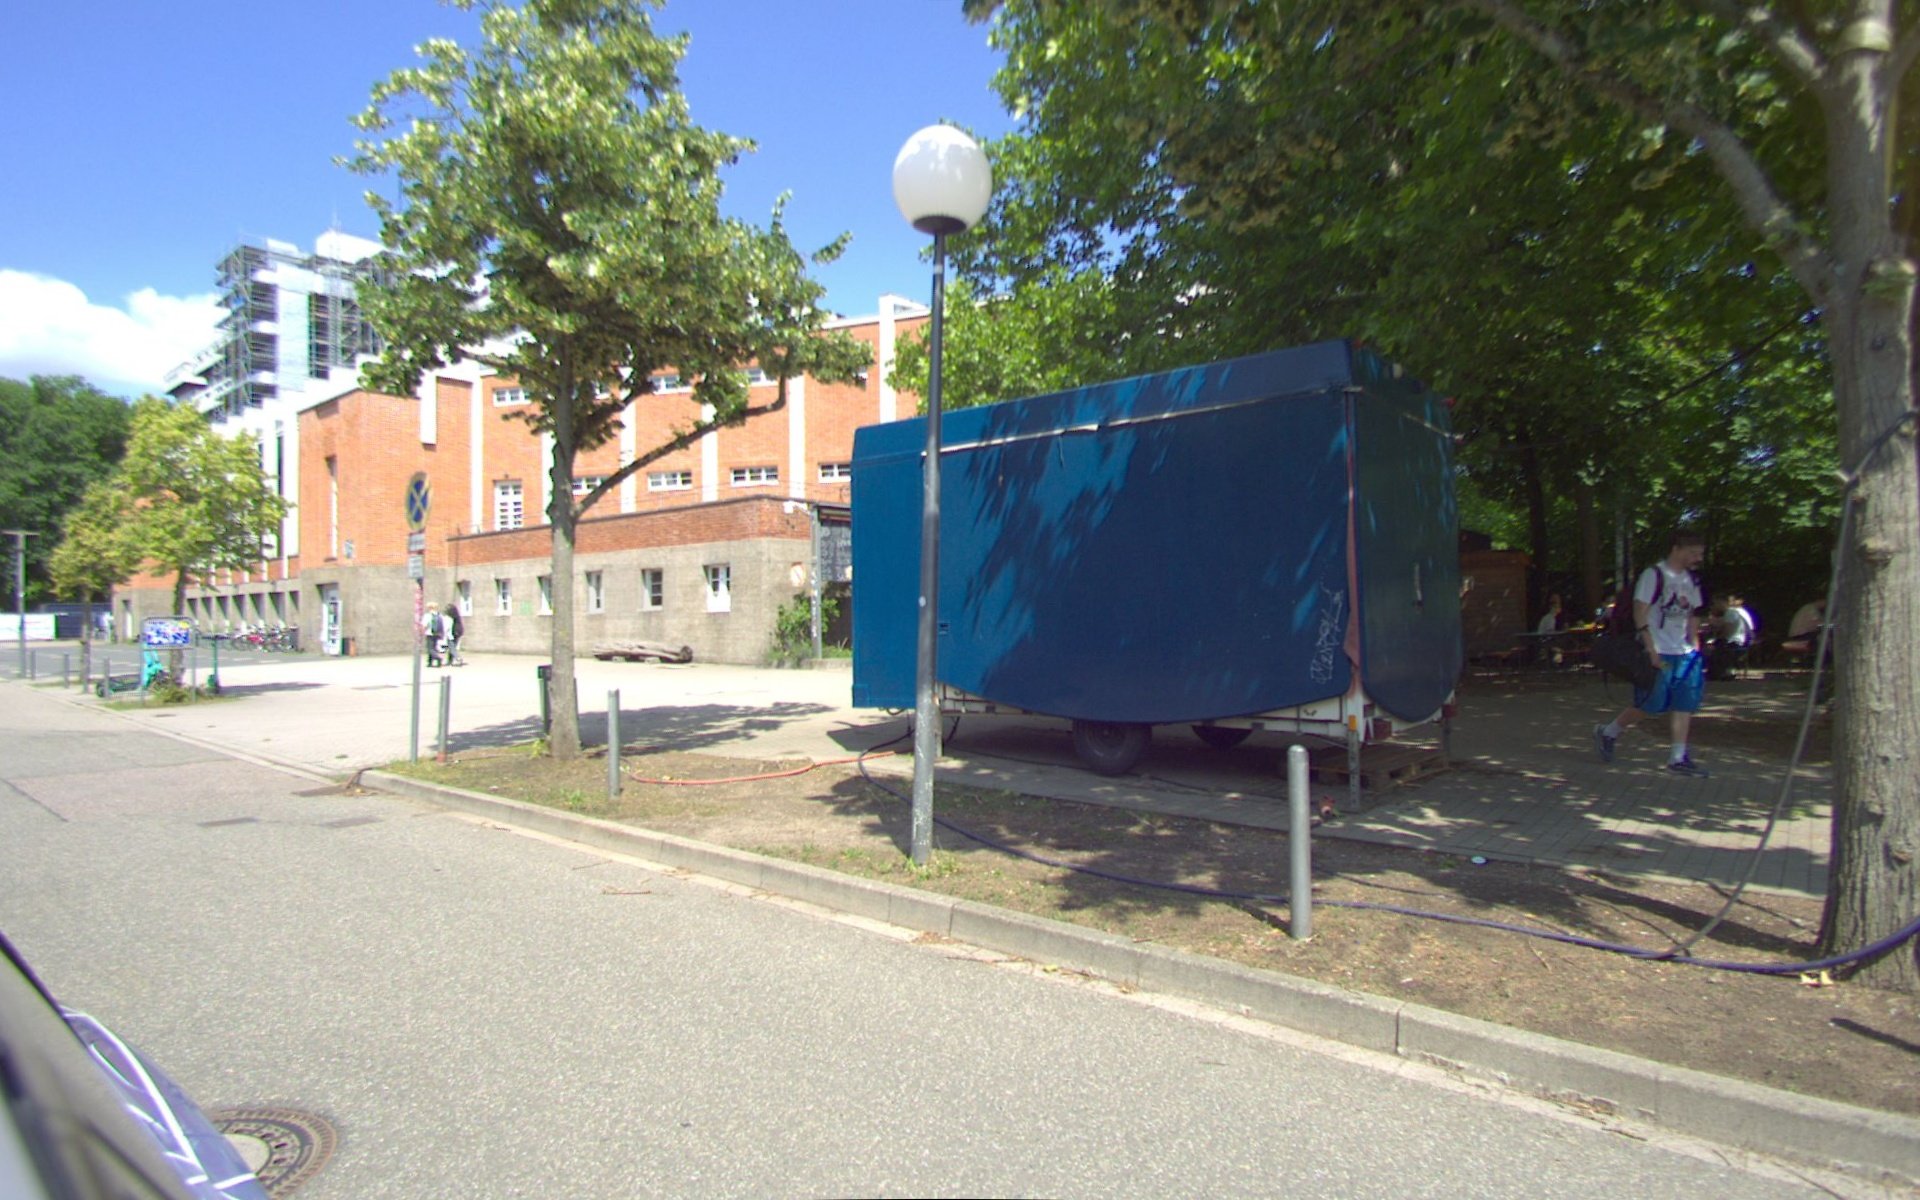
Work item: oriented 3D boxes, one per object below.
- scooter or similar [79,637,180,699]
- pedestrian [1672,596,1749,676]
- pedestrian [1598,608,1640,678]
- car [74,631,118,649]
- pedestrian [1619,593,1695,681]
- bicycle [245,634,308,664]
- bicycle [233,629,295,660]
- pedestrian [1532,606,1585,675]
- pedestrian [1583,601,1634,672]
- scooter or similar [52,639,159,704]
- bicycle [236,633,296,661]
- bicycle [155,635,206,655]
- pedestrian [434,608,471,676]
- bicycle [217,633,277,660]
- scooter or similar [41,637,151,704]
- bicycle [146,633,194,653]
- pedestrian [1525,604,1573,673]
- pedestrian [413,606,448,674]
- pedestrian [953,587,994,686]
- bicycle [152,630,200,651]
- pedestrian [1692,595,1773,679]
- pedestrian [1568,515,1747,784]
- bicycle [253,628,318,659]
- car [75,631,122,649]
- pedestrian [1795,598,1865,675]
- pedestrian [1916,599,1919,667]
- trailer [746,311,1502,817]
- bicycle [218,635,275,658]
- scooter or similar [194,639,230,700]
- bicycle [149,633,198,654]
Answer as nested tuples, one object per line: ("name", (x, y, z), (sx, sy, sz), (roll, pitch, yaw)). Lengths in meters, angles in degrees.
("scooter or similar", (-17.546, 1.415, 21.424), (1.548, 1.234, 0.572), (0, -1, -23))
("pedestrian", (12.102, 0.573, 16.337), (0.733, 1.243, 0.594), (-3, -1, 6))
("pedestrian", (12.800, 0.820, 19.652), (0.559, 1.333, 0.638), (-2, -2, 42))
("car", (-59.335, 2.731, 69.516), (0.524, 1.189, 2.259), (-2, -1, 42))
("pedestrian", (11.269, 0.592, 16.379), (0.733, 1.379, 0.594), (-3, -1, 6))
("bicycle", (-27.444, 1.946, 40.649), (0.592, 1.134, 2.000), (-2, -1, 41))
("bicycle", (-28.212, 1.793, 41.052), (0.439, 1.134, 1.999), (-2, 0, 44))
("pedestrian", (11.933, 0.801, 20.177), (0.778, 1.333, 0.680), (-2, -2, 42))
("pedestrian", (12.030, 0.673, 18.777), (0.693, 1.281, 0.554), (-2, -1, 41))
("scooter or similar", (-17.198, 1.423, 20.415), (1.548, 1.234, 0.567), (0, -1, -23))
("bicycle", (-29.079, 1.946, 42.411), (0.621, 1.090, 1.990), (-2, -1, 39))
("bicycle", (-38.865, 2.233, 50.497), (0.568, 0.948, 1.931), (-2, -1, 39))
("pedestrian", (-13.753, 1.122, 27.412), (0.917, 1.793, 0.570), (-1, -1, 40))
("bicycle", (-30.493, 1.980, 43.324), (0.662, 1.069, 2.001), (-2, -1, 39))
("scooter or similar", (-16.873, 1.368, 19.792), (1.548, 1.234, 0.526), (0, -1, -23))
("bicycle", (-42.083, 2.278, 53.928), (0.541, 1.038, 1.931), (-2, -1, 39))
("pedestrian", (11.301, 0.728, 19.420), (0.693, 1.281, 0.554), (-2, -1, 41))
("pedestrian", (-14.068, 1.044, 26.895), (0.805, 1.775, 0.557), (-1, -1, 40))
("pedestrian", (0.255, 0.673, 19.179), (0.441, 1.833, 0.883), (1, 0, -22))
("bicycle", (-41.388, 2.142, 53.420), (0.518, 1.038, 1.931), (-2, -1, 39))
("pedestrian", (11.992, 0.572, 15.724), (0.733, 1.243, 0.594), (-3, -1, 6))
("pedestrian", (5.200, 0.343, 7.551), (0.986, 1.844, 0.791), (-2, -1, 41))
("bicycle", (-26.139, 1.663, 39.234), (0.666, 1.134, 2.001), (-2, -1, 39))
("car", (-58.198, 2.680, 68.387), (0.794, 1.189, 2.337), (-2, -1, 42))
("pedestrian", (14.652, 0.614, 17.062), (0.764, 1.260, 0.565), (-2, -1, 29))
("pedestrian", (16.460, 0.554, 16.979), (0.505, 1.148, 0.333), (-2, -1, 30))
("trailer", (1.105, -0.177, 9.166), (6.262, 3.049, 2.669), (-1, 0, 40))
("bicycle", (-31.636, 2.054, 44.894), (0.684, 0.967, 1.931), (-2, -1, 39))
("scooter or similar", (-15.143, 1.391, 20.473), (0.556, 1.158, 1.352), (0, -1, -38))
("bicycle", (-39.914, 2.194, 51.372), (0.529, 1.038, 1.931), (-2, -1, 39))
